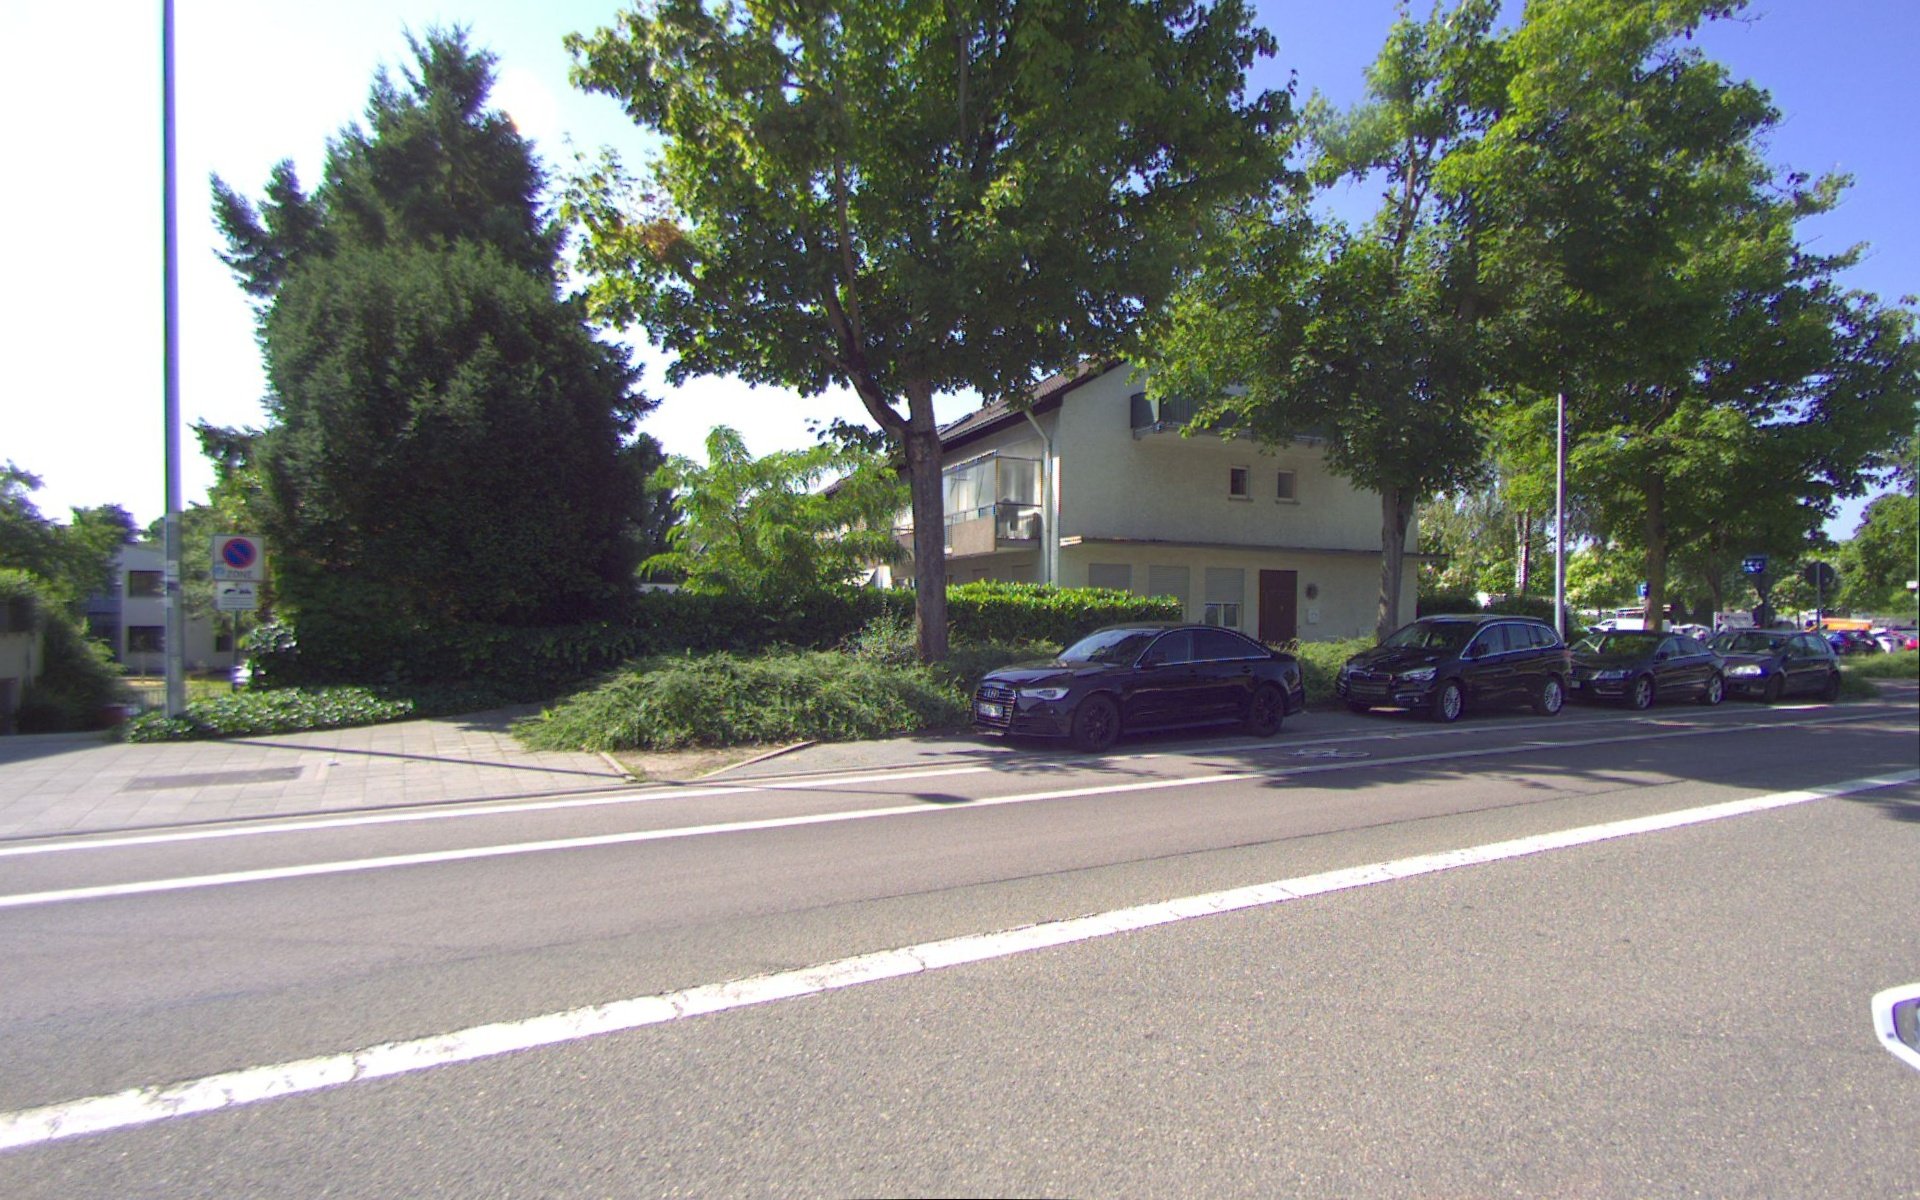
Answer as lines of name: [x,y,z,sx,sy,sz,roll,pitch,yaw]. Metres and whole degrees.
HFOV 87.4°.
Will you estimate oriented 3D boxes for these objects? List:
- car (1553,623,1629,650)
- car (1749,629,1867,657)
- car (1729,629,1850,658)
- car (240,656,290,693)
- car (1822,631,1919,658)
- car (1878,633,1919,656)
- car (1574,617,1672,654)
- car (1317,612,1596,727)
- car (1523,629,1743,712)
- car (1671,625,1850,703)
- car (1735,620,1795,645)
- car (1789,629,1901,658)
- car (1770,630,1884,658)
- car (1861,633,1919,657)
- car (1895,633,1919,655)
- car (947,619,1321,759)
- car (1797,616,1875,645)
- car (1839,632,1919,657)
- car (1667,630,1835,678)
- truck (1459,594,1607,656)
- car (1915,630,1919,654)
car: [39.147,2.267,62.415,1.537,1.374,3.760,1,2,-25]
car: [40.432,2.017,47.967,1.748,1.241,3.973,1,-1,-27]
car: [38.168,1.984,46.306,1.751,1.241,3.967,1,-1,-31]
car: [-33.883,3.602,49.060,1.627,1.344,3.968,-1,3,-29]
car: [47.628,2.267,52.189,1.748,1.281,3.973,1,-1,-27]
car: [53.933,2.501,55.821,1.748,1.241,3.973,1,-1,-27]
car: [41.430,2.187,62.859,1.980,2.040,4.663,2,1,-34]
car: [8.246,1.058,16.537,4.836,1.627,1.753,1,0,-31]
car: [13.100,1.291,19.475,4.726,1.398,1.682,1,-1,-31]
car: [17.353,1.350,21.747,3.955,1.470,1.634,1,1,-29]
car: [63.681,2.588,79.455,1.535,1.901,3.405,1,-1,-31]
car: [45.133,2.183,51.301,1.748,1.368,3.973,1,-1,-27]
car: [43.056,2.175,49.988,1.748,1.241,3.973,1,-1,-27]
car: [51.938,2.442,54.668,1.748,1.241,3.973,1,-1,-27]
car: [55.797,2.513,56.776,1.748,1.241,3.973,1,-1,-27]
car: [2.361,1.016,12.982,4.858,1.485,1.829,1,-1,-34]
car: [69.377,2.391,79.616,1.980,2.040,4.228,2,1,-35]
car: [49.687,2.354,53.500,1.748,1.241,3.973,1,-1,-27]
car: [25.465,1.710,32.479,1.730,1.426,3.885,0,-2,-28]
truck: [32.808,1.344,57.826,2.206,3.059,7.103,1,2,-31]
car: [58.104,2.461,57.988,1.748,1.420,3.973,1,-1,-27]
